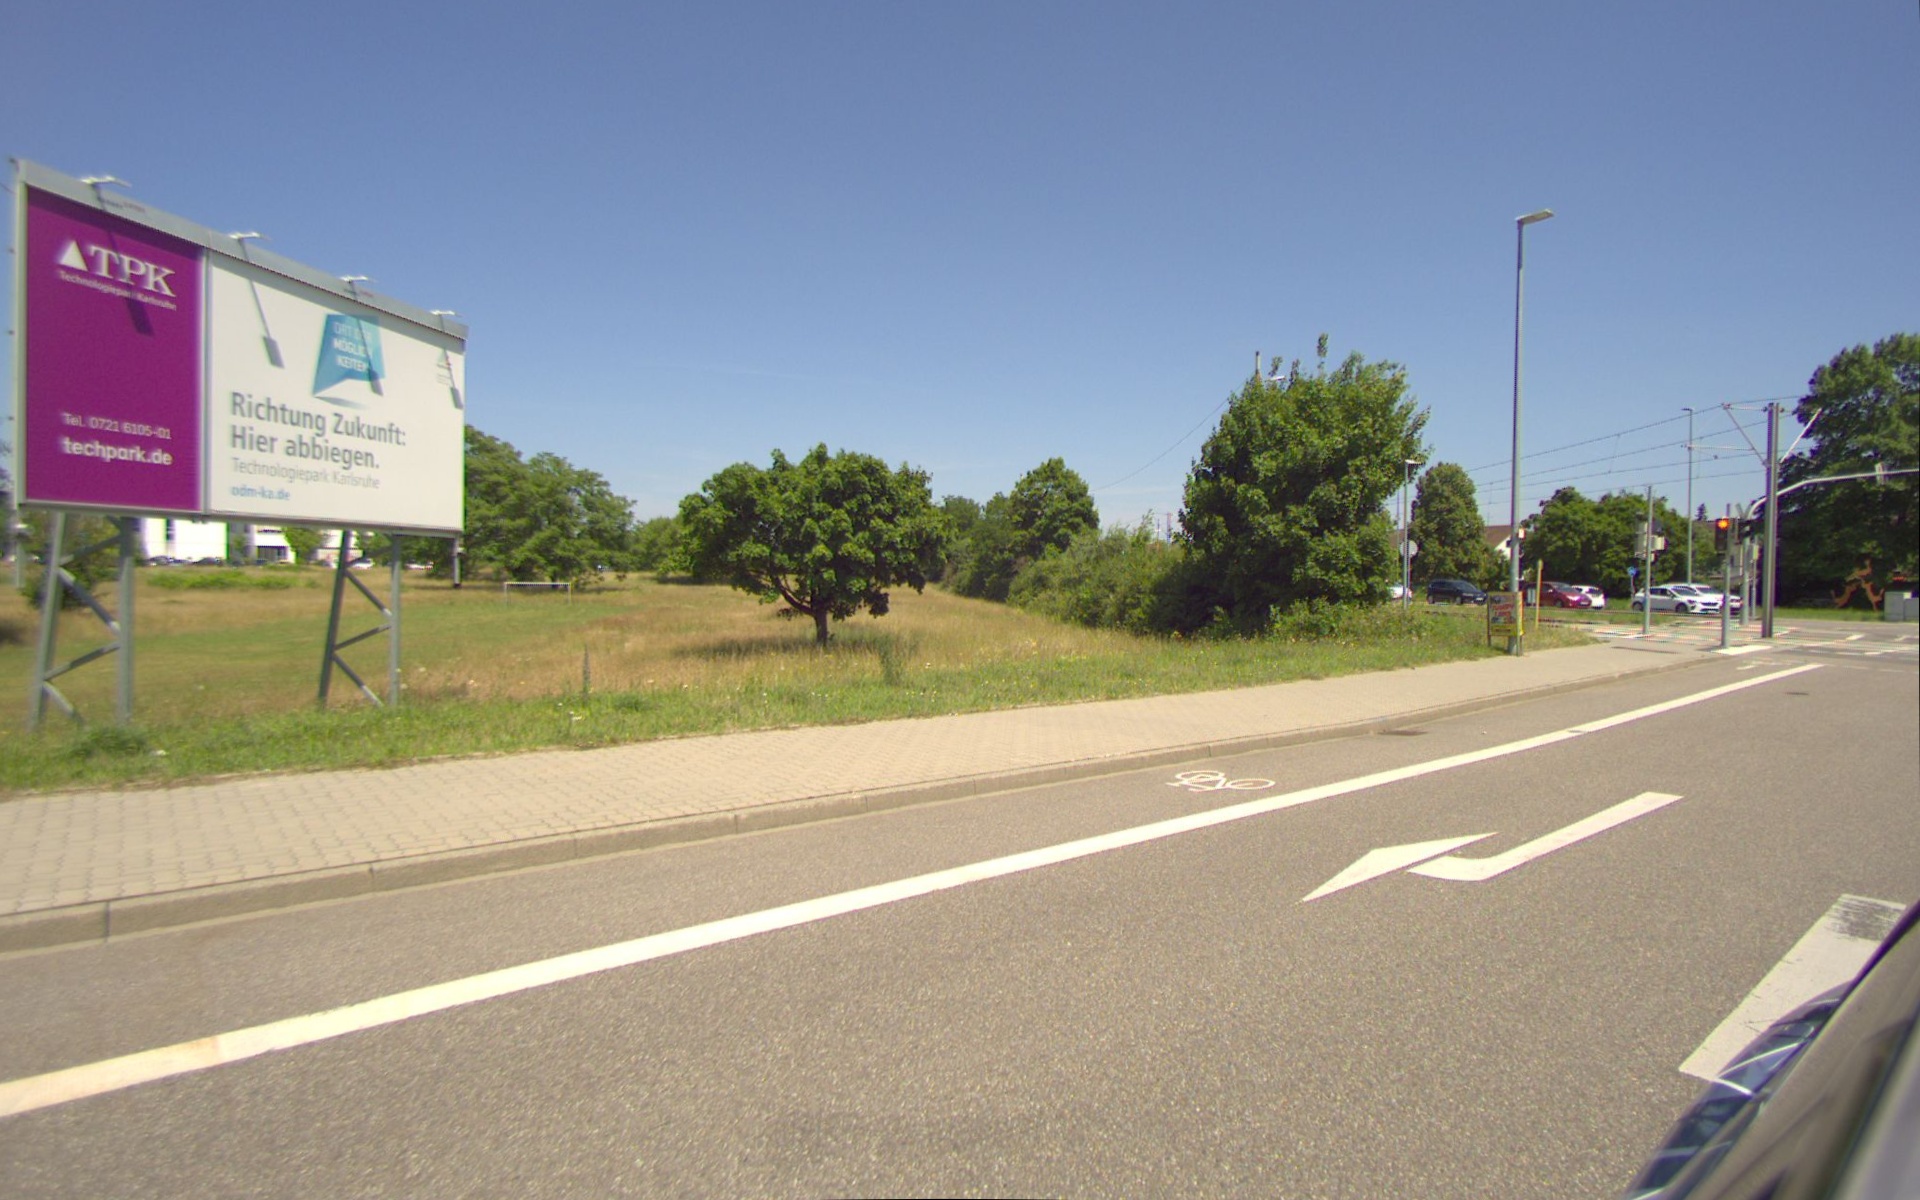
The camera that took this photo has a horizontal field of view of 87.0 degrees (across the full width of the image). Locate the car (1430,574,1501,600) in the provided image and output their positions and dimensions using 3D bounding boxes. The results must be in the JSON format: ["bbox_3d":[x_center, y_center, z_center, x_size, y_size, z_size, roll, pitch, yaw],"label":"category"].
[{"bbox_3d":[33.011,-0.860,66.221,1.836,1.595,4.420,2,1,-9],"label":"car"}]

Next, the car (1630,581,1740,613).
[{"bbox_3d":[36.162,-0.178,50.635,1.836,1.406,4.420,2,1,-9],"label":"car"}]

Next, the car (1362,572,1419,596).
[{"bbox_3d":[31.305,-1.196,73.744,1.695,1.595,4.420,2,1,-9],"label":"car"}]

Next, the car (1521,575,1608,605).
[{"bbox_3d":[34.657,-0.593,58.171,1.836,1.595,4.420,2,1,-9],"label":"car"}]

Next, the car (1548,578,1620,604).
[{"bbox_3d":[40.164,-0.627,65.262,1.695,1.523,3.907,2,2,-11],"label":"car"}]

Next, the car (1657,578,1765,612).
[{"bbox_3d":[38.996,-0.292,52.717,1.836,1.595,4.420,2,1,-9],"label":"car"}]
